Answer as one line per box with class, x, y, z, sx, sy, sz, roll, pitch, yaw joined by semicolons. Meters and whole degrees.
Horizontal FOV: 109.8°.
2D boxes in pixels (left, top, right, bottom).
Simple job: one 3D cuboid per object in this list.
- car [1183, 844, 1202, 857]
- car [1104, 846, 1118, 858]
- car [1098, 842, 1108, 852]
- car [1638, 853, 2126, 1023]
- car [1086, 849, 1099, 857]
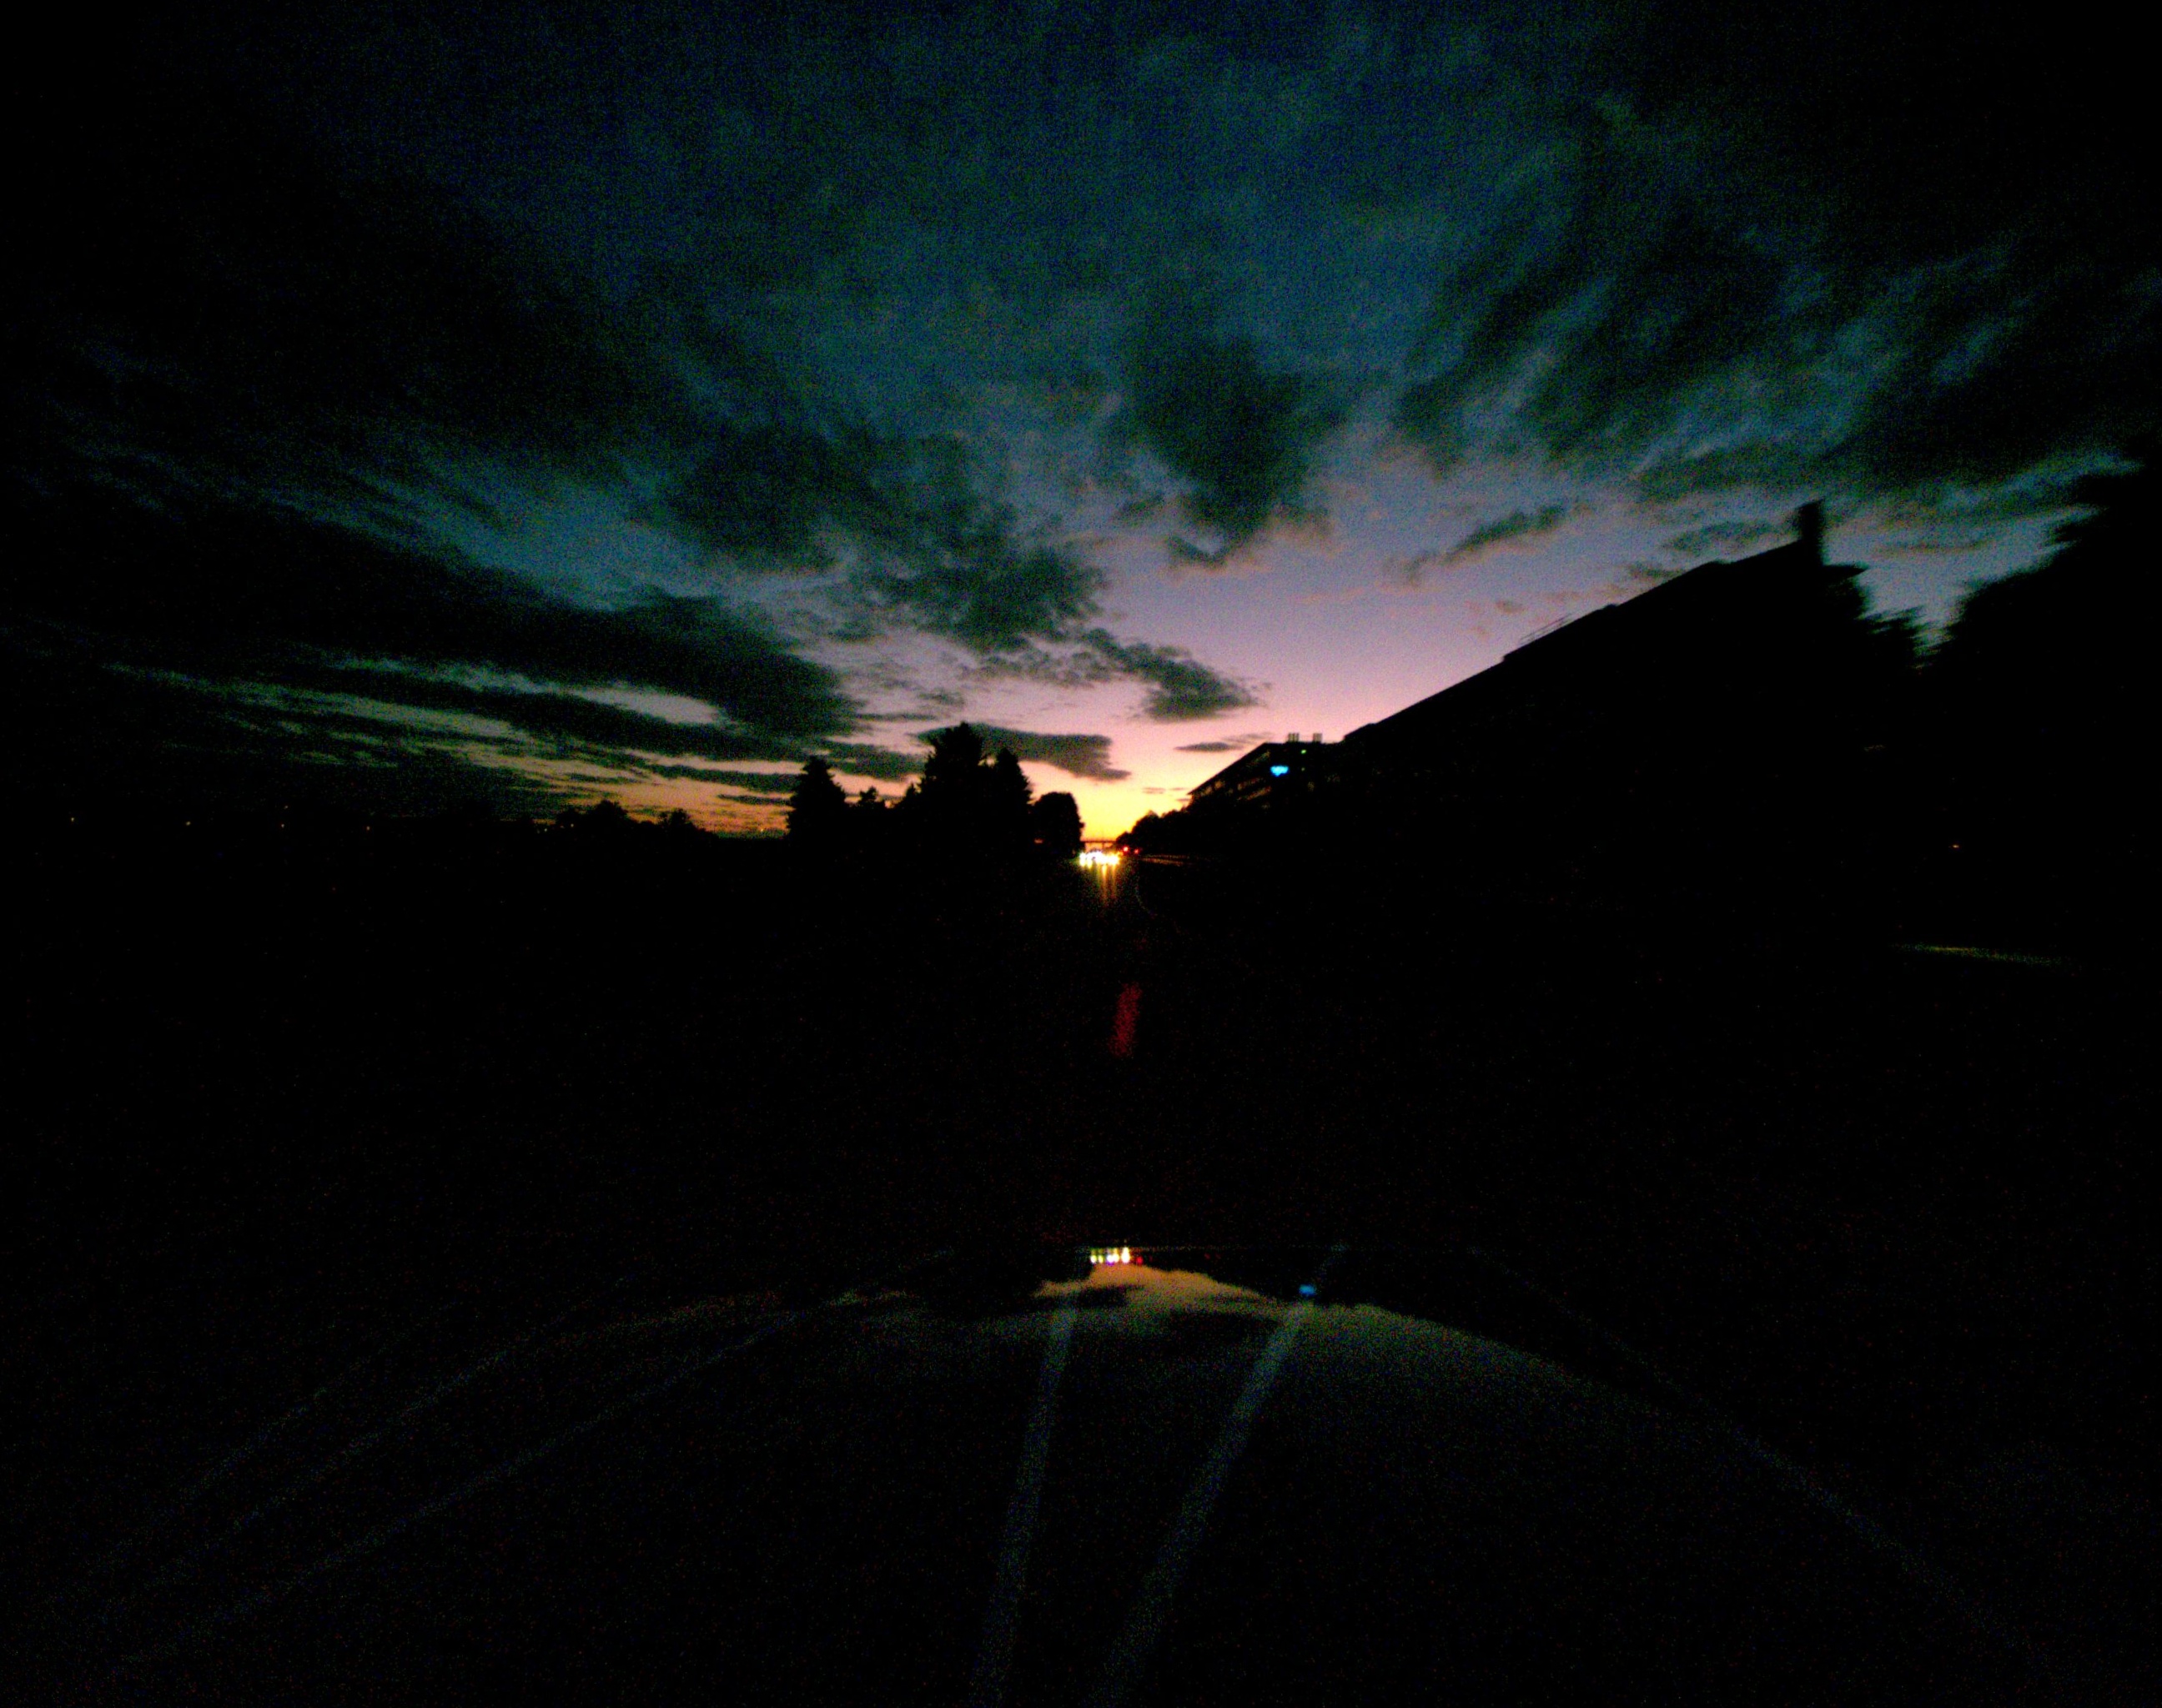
car;14.094;-0.476;96.382;1.774;1.632;4.660;0;1;0
car;3.778;-0.279;95.839;1.755;1.447;3.803;-2;0;2
car;4.984;-1.562;171.610;1.861;2.002;4.002;-3;1;8
car;8.966;0.787;9.116;1.697;1.525;4.000;-2;0;2
car;2.282;-0.214;154.035;1.997;1.575;4.002;-3;1;8
